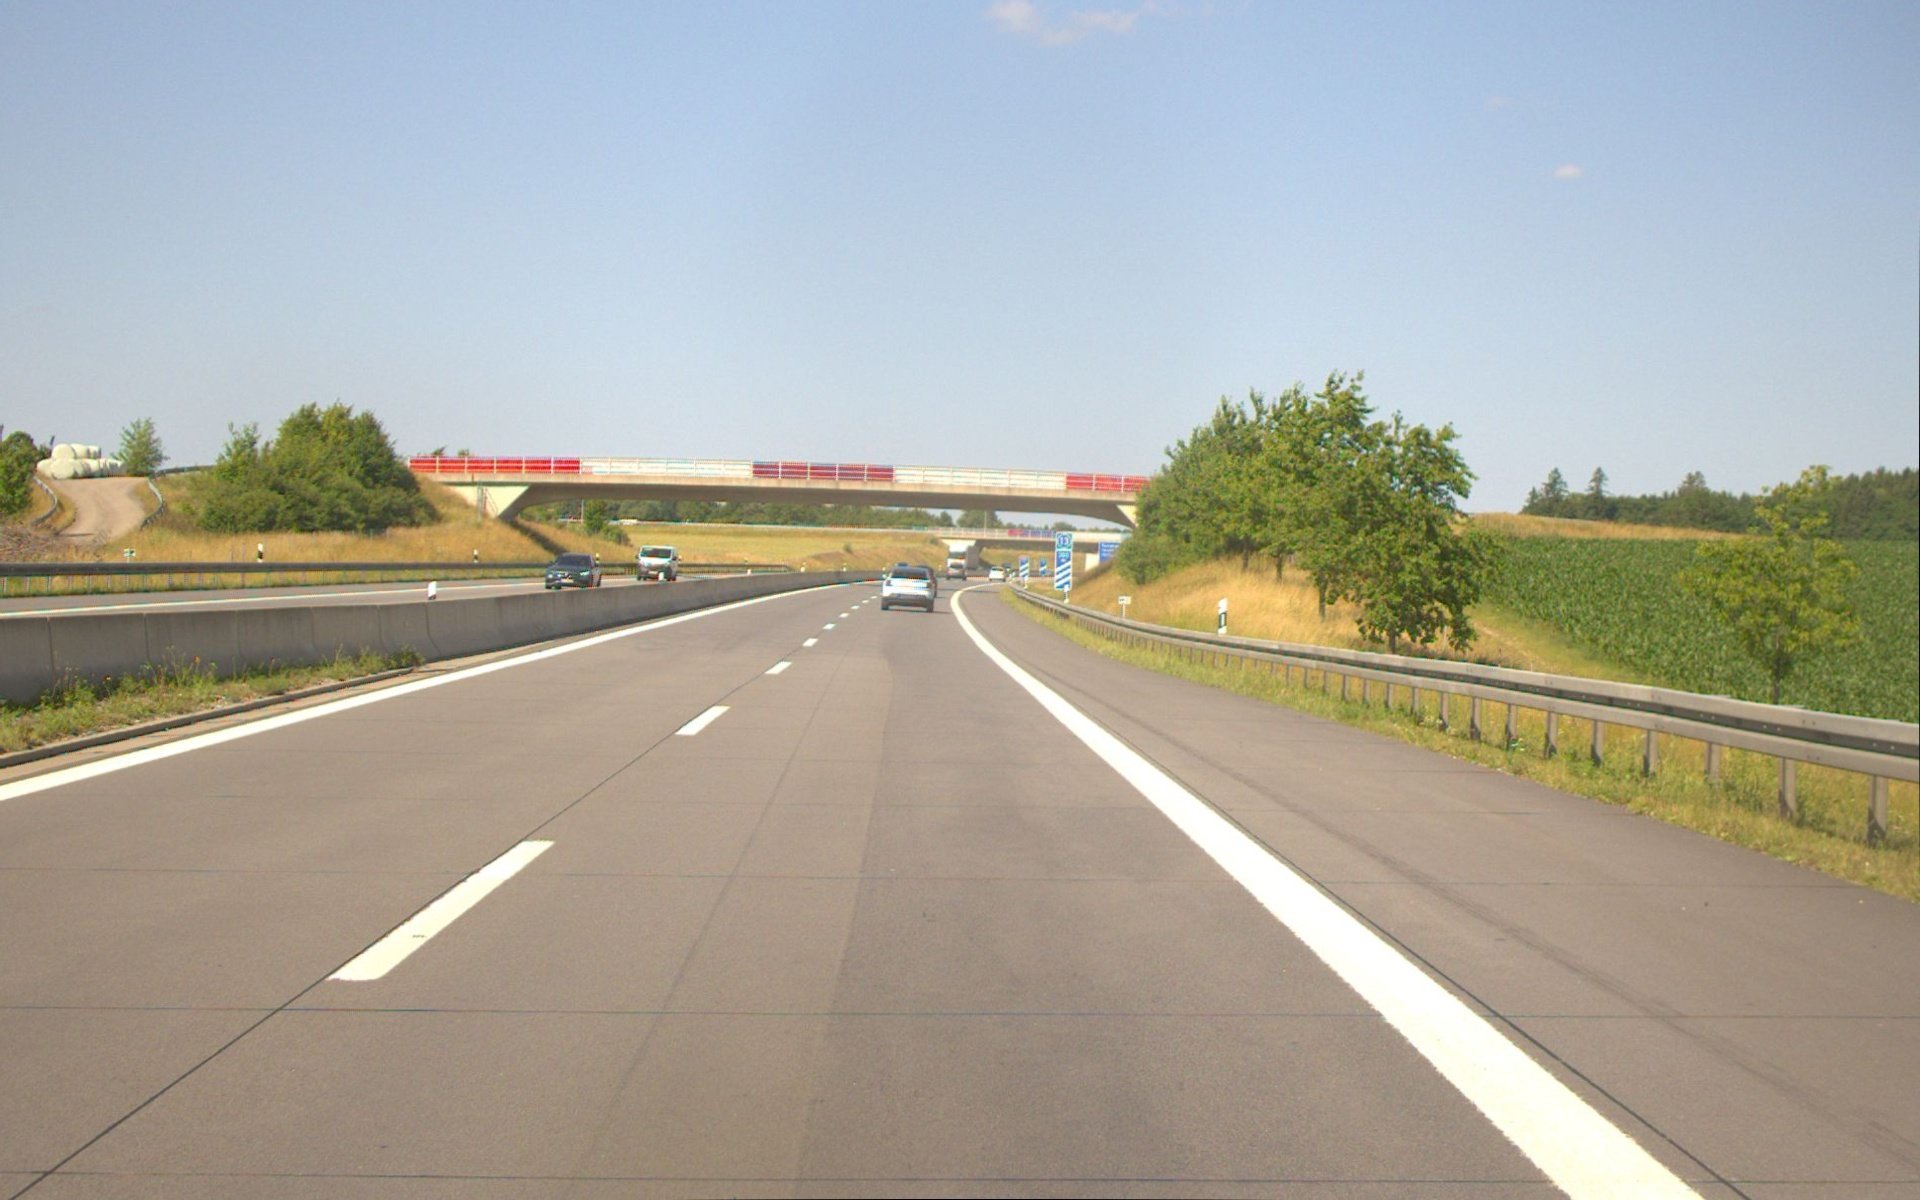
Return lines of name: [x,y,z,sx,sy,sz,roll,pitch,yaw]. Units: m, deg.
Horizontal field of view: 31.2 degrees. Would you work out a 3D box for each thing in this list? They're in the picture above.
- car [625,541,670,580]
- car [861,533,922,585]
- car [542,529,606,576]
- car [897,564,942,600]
car: [-17.308,-2.172,190.490,1.993,2.007,5.716,4,0,-2]
car: [-2.396,-1.447,121.596,1.993,1.725,4.869,2,1,0]
car: [-15.427,-1.916,137.667,1.907,1.679,5.007,4,1,-1]
car: [-2.029,-0.911,173.543,1.993,1.725,4.869,2,1,2]
